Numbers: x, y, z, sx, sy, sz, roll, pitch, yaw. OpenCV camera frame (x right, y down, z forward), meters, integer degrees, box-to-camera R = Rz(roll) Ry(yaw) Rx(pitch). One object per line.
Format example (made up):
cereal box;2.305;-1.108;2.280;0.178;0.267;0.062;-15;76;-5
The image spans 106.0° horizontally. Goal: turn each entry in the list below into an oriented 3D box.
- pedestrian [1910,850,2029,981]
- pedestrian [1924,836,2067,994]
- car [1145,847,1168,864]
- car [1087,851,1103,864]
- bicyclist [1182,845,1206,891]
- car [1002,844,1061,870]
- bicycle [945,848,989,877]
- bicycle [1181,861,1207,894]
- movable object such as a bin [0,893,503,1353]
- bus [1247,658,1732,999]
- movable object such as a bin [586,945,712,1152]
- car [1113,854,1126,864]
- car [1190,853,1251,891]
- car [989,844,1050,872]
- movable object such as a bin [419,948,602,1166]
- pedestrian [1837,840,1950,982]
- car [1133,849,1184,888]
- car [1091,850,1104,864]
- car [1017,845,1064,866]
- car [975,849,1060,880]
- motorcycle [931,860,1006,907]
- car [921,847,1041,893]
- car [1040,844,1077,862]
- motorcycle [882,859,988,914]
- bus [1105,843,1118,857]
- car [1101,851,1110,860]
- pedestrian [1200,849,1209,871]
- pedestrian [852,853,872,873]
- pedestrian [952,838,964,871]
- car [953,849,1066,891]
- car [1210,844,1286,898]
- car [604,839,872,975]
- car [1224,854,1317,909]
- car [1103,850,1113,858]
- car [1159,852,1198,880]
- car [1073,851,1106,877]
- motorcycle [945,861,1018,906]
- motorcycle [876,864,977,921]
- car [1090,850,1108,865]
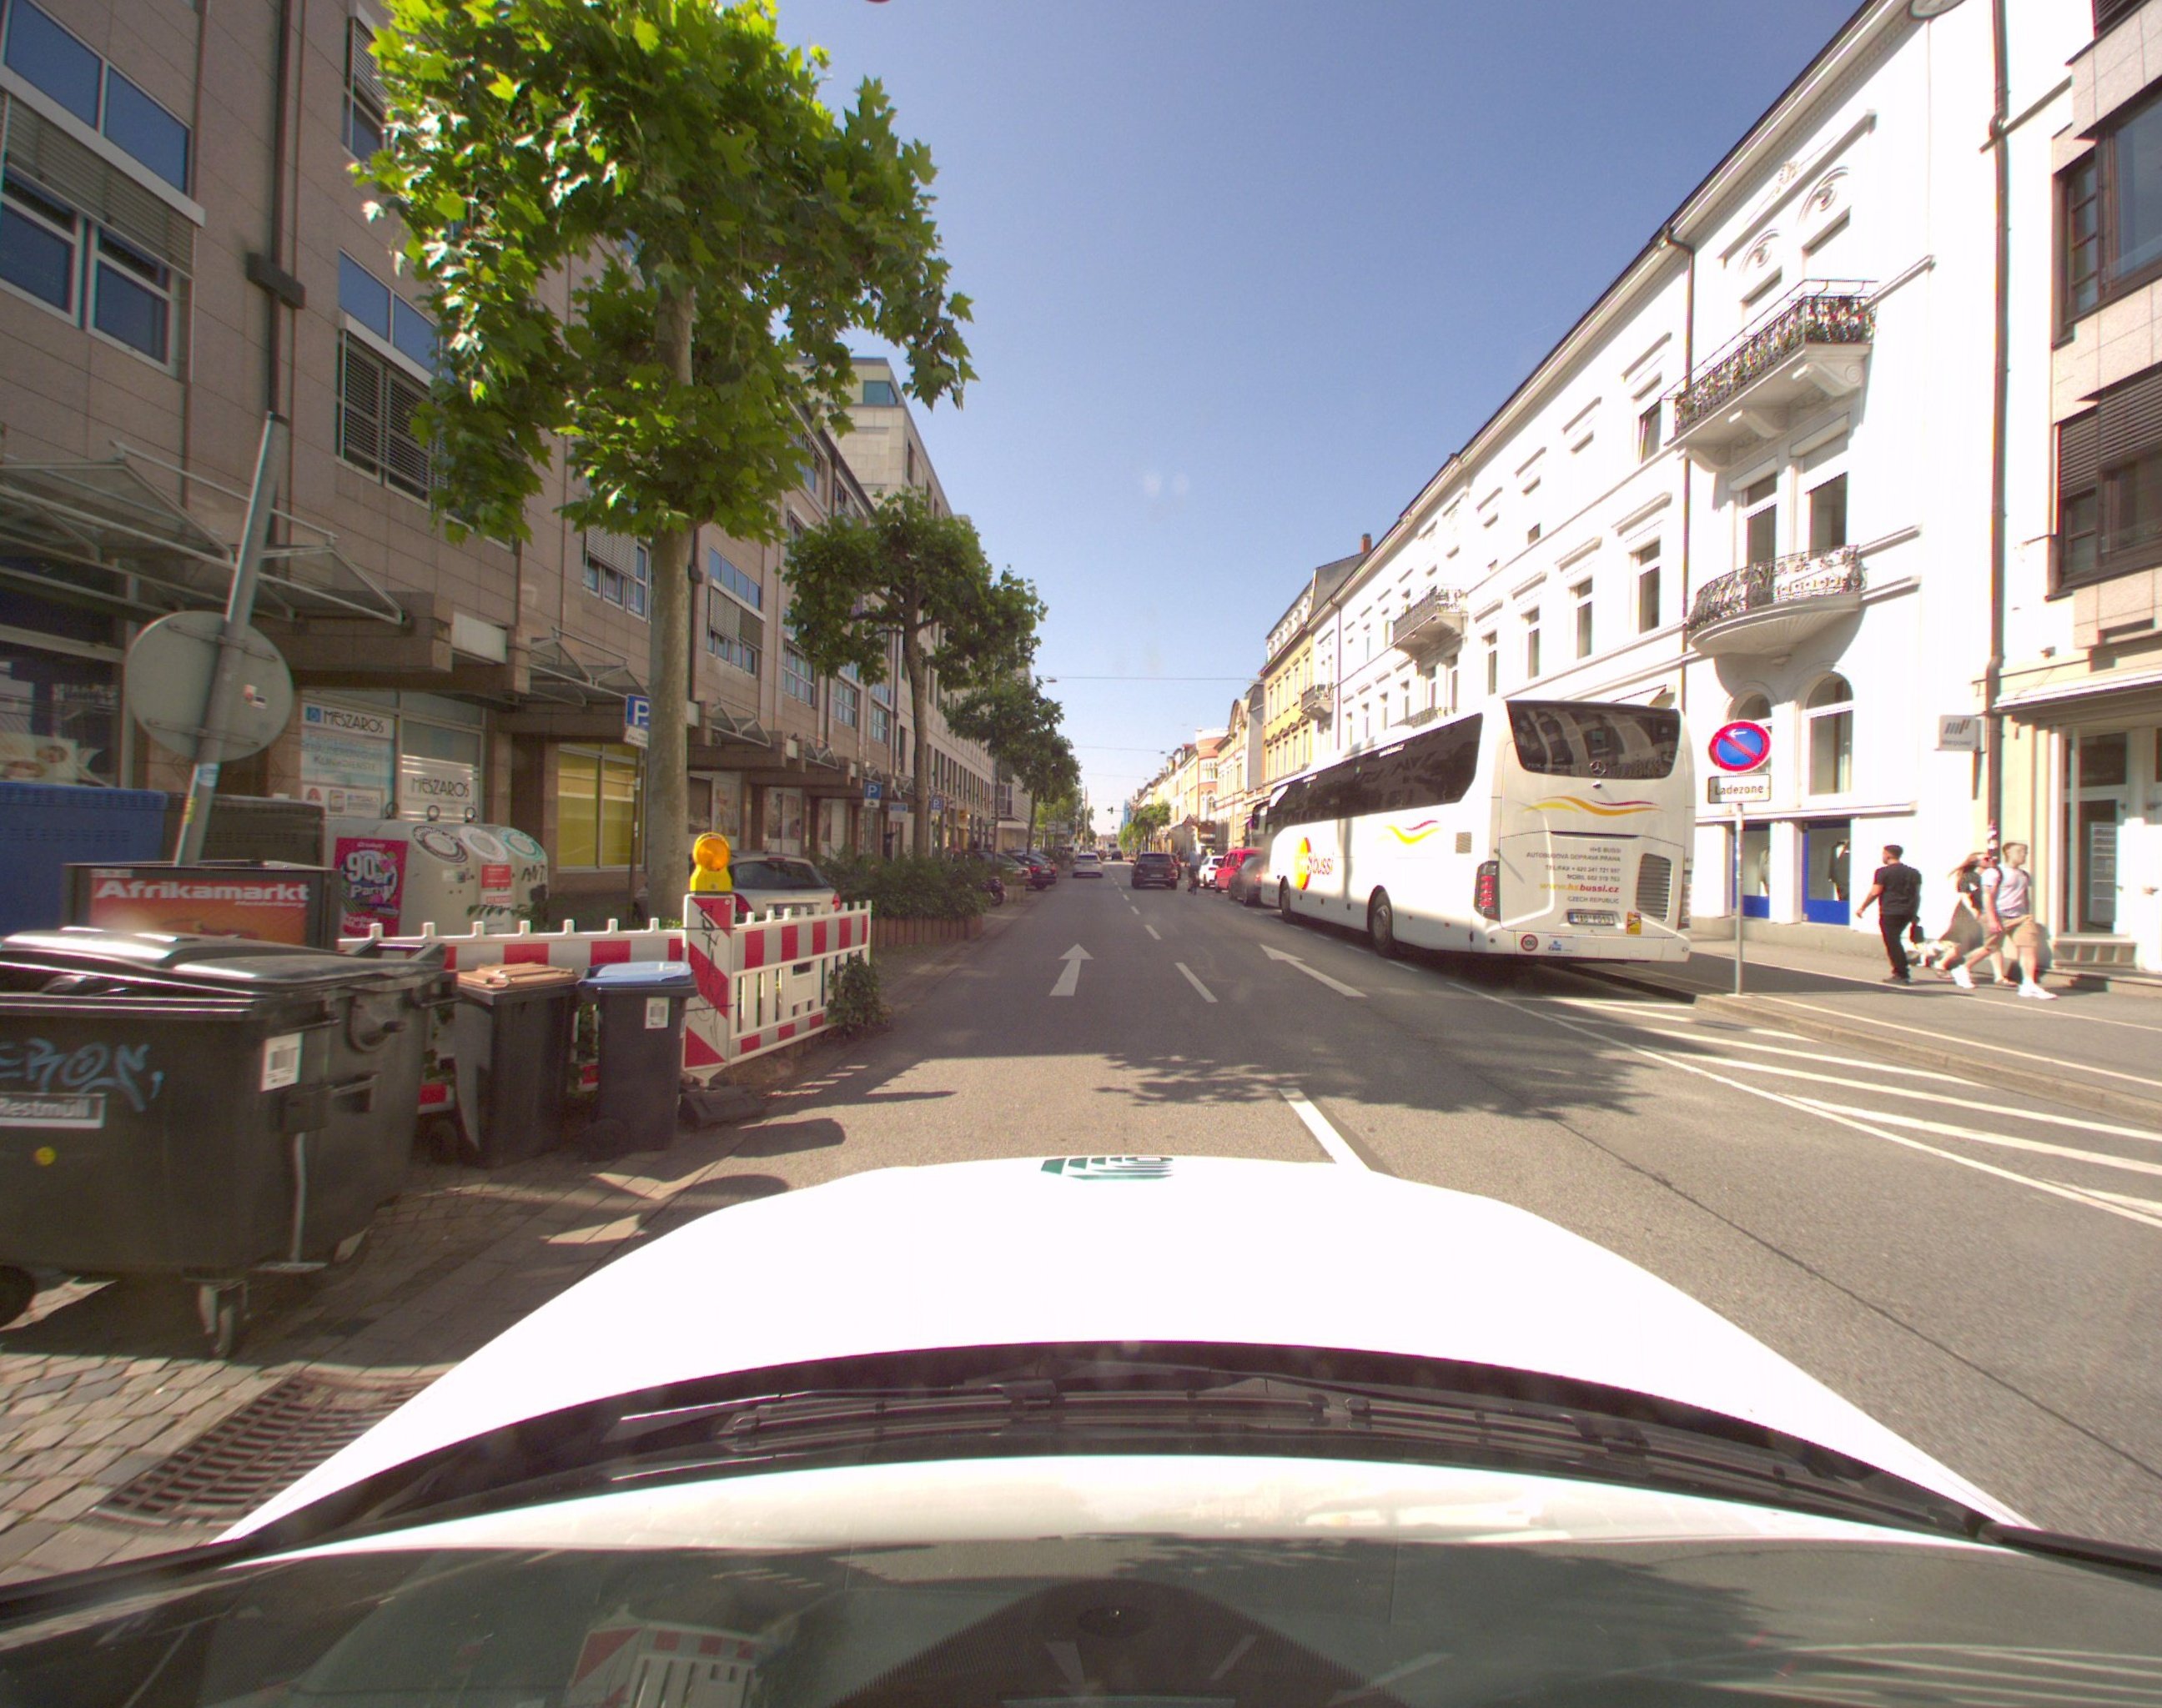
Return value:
pedestrian;11.523;0.776;10.596;0.642;1.617;0.822;1;-2;4
pedestrian;10.914;0.701;9.758;0.571;1.778;1.021;1;-2;4
car;6.744;0.135;72.673;1.815;1.385;4.002;1;1;2
car;1.623;0.343;94.120;1.737;1.441;4.000;1;0;1
bicyclist;4.215;0.506;30.461;0.692;1.673;0.916;3;1;2
car;-3.753;0.230;61.819;3.952;1.568;1.709;6;0;26
bicycle;-5.668;0.417;40.506;2.063;1.288;0.367;4;-1;-7
bicycle;4.189;0.863;30.405;0.662;1.120;2.244;3;1;1
movable object such as a bin;-2.994;0.820;2.856;1.272;1.299;0.853;1;0;1
bus;5.917;-0.298;15.477;2.872;3.742;12.425;3;0;0
movable object such as a bin;-2.297;1.001;4.381;0.556;0.939;0.496;-1;1;-25
car;5.681;0.676;120.830;1.857;1.441;4.000;1;0;0
car;6.229;0.756;36.852;1.808;1.466;4.578;3;1;-2
car;-4.170;0.272;55.428;3.978;1.500;1.715;5;0;-3
movable object such as a bin;-2.877;0.987;4.139;0.495;0.939;0.558;0;1;17
pedestrian;10.285;0.690;10.338;0.617;1.719;0.836;1;0;3
car;3.237;0.570;34.565;1.826;1.527;4.001;1;0;1
car;2.397;0.496;122.420;1.857;2.030;3.999;1;-1;0
car;-3.581;0.169;72.142;3.976;1.500;1.716;5;0;-1
car;-3.452;0.535;43.688;4.594;1.408;1.918;4;1;44
motorcycle;-3.115;0.797;22.532;1.894;1.170;0.732;2;0;21
car;-3.883;0.573;31.098;4.698;1.533;2.002;2;1;43
car;-3.035;-0.179;109.019;4.665;2.003;1.953;5;0;41
motorcycle;-3.759;0.800;21.095;2.325;1.268;1.301;2;0;21
bus;8.029;-1.109;213.408;2.763;3.605;8.967;1;0;-2
car;5.317;0.362;175.558;1.857;1.849;3.999;0;-2;0
pedestrian;10.460;0.501;68.885;0.649;1.809;0.730;1;0;4
pedestrian;-9.535;0.382;35.482;0.564;0.809;0.774;6;0;1
pedestrian;-6.152;0.021;40.716;0.565;1.657;0.635;1;0;-5
car;-3.046;0.629;34.051;4.737;1.422;1.894;3;1;41
car;6.333;0.585;31.392;1.823;1.863;4.350;3;0;-3
car;-4.957;0.603;11.523;4.007;1.494;1.947;3;1;42
car;5.873;0.787;25.855;1.852;1.470;5.228;3;0;2
car;5.164;0.085;158.537;1.857;1.441;3.999;0;-2;0
car;5.684;0.690;47.626;1.816;1.409;3.186;3;1;0
car;0.461;0.564;48.353;1.857;1.441;3.999;1;0;-1
motorcycle;-2.841;0.819;23.235;1.894;1.170;0.764;2;0;21
motorcycle;-3.548;0.847;18.681;2.152;1.170;0.926;2;0;29
car;1.832;0.294;82.255;1.737;1.441;4.000;1;0;1
